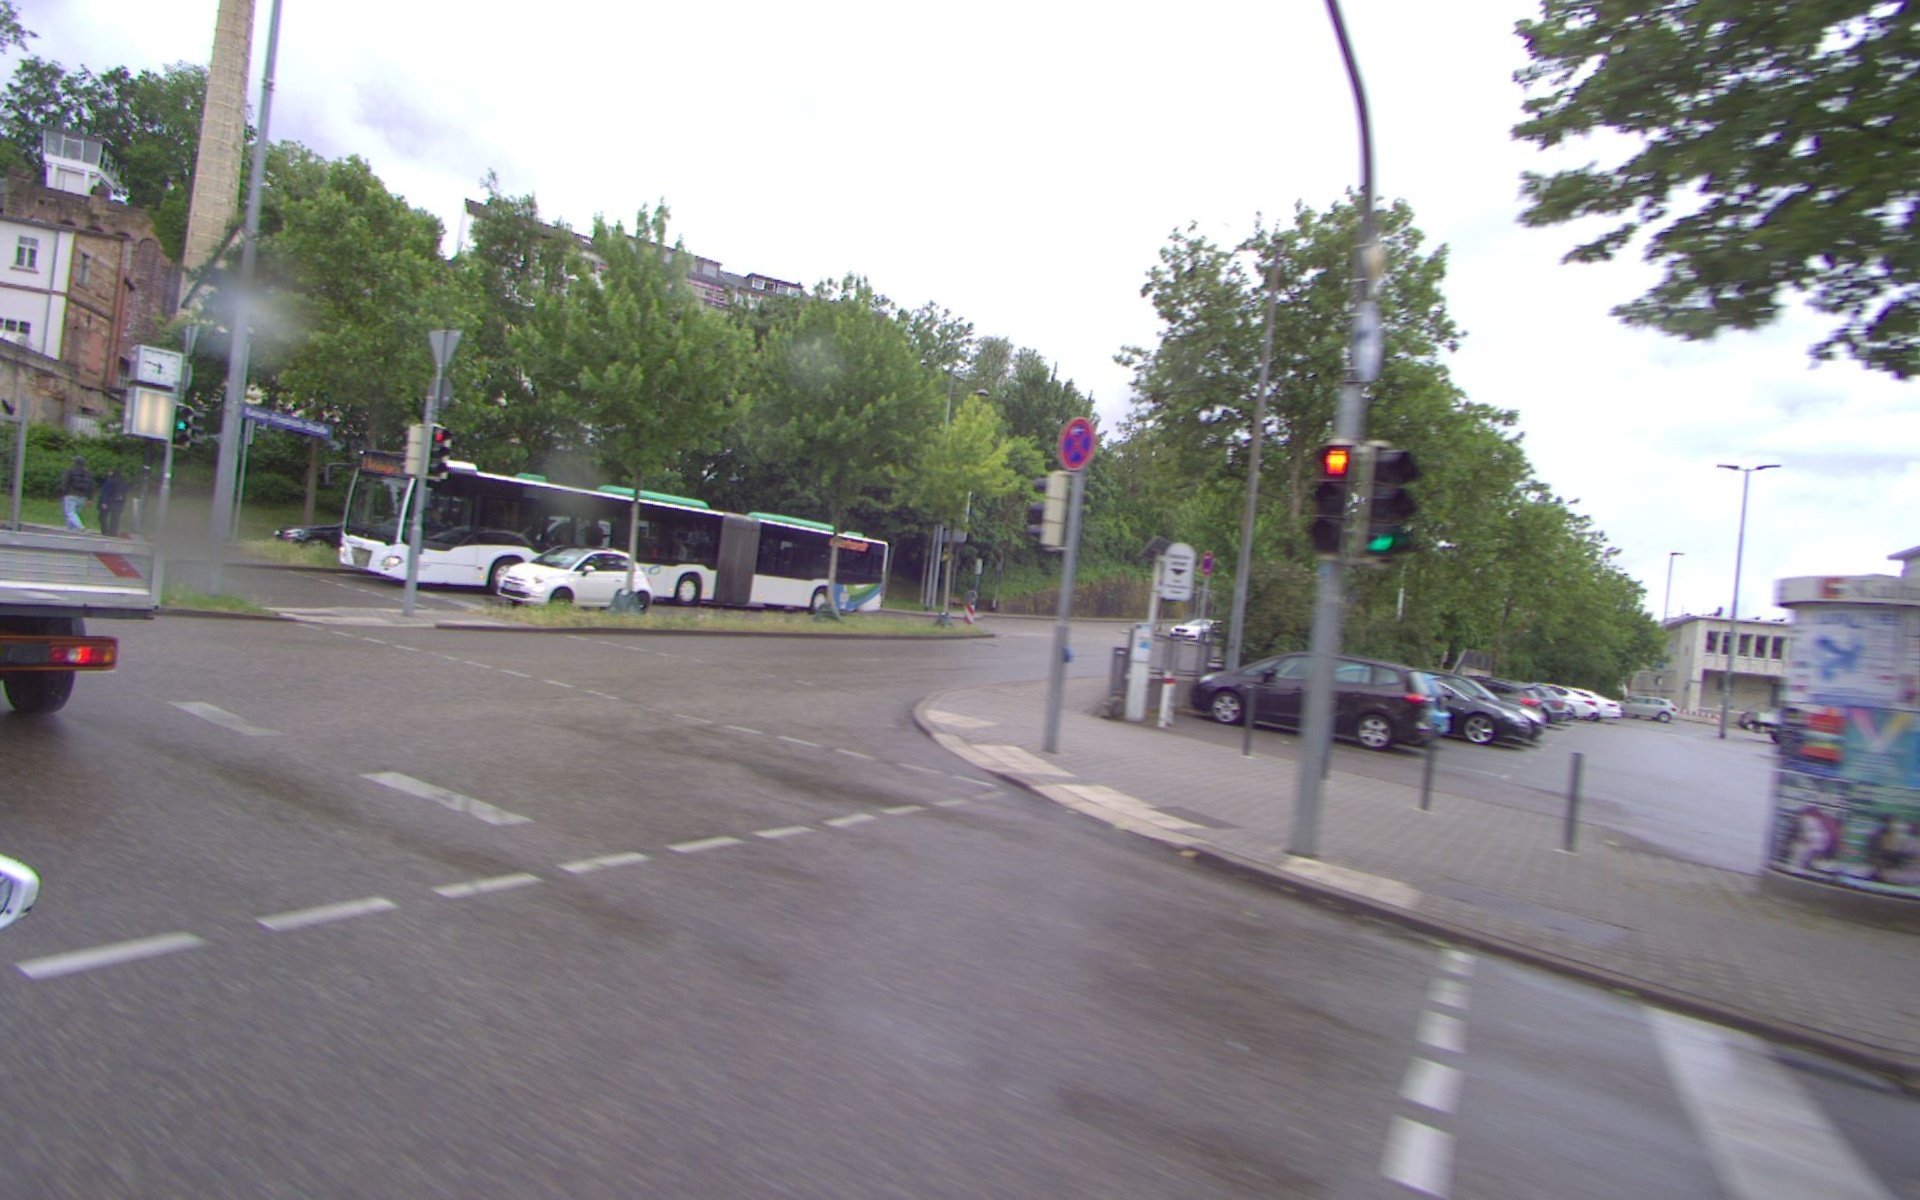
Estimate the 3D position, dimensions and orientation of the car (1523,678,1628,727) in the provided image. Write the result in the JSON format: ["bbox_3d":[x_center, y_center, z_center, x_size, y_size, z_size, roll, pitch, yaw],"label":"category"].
[{"bbox_3d":[29.605,4.915,48.427,3.959,1.696,1.849,7,0,40],"label":"car"}]

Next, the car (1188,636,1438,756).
[{"bbox_3d":[6.814,1.793,19.510,4.189,1.632,1.803,7,0,29],"label":"car"}]

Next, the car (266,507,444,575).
[{"bbox_3d":[-17.240,-1.664,28.743,4.066,1.391,1.775,6,0,-41],"label":"car"}]

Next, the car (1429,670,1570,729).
[{"bbox_3d":[19.199,3.511,35.921,4.189,1.458,1.854,7,0,29],"label":"car"}]

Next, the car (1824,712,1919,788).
[{"bbox_3d":[24.645,3.962,25.402,3.935,1.586,1.758,8,1,34],"label":"car"}]

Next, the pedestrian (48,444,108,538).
[{"bbox_3d":[-20.514,-2.520,23.414,0.776,2.040,0.585,6,2,-22],"label":"pedestrian"}]

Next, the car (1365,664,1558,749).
[{"bbox_3d":[12.925,2.693,26.041,4.189,1.498,1.854,7,0,29],"label":"car"}]

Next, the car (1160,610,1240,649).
[{"bbox_3d":[13.632,1.707,56.948,4.844,1.673,1.976,7,0,-43],"label":"car"}]

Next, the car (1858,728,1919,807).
[{"bbox_3d":[21.753,3.806,21.131,3.935,1.467,1.758,8,1,34],"label":"car"}]

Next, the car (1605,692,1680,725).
[{"bbox_3d":[43.238,6.852,63.729,3.759,1.439,1.696,7,0,37],"label":"car"}]

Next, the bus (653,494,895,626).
[{"bbox_3d":[-5.922,-1.167,33.903,2.643,3.219,8.544,8,0,32],"label":"bus"}]

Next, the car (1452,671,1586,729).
[{"bbox_3d":[21.990,3.907,39.654,4.201,1.631,1.849,7,0,40],"label":"car"}]

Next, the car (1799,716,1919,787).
[{"bbox_3d":[25.978,4.301,27.811,3.935,1.463,1.657,8,1,34],"label":"car"}]

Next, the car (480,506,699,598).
[{"bbox_3d":[-12.130,-1.532,33.315,6.295,2.262,2.229,6,0,-42],"label":"car"}]

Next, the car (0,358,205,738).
[{"bbox_3d":[-7.816,-0.515,6.848,5.447,2.113,2.107,5,-2,29],"label":"car"}]

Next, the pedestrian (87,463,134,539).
[{"bbox_3d":[-20.310,-2.357,24.055,0.518,1.728,0.558,7,2,17],"label":"pedestrian"}]

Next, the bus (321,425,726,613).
[{"bbox_3d":[-10.649,-1.772,26.136,2.659,3.255,9.643,8,0,30],"label":"bus"}]

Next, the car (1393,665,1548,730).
[{"bbox_3d":[16.281,3.085,32.186,4.189,1.414,1.854,7,0,29],"label":"car"}]

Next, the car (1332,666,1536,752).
[{"bbox_3d":[11.393,2.558,24.285,4.189,1.371,1.854,7,0,29],"label":"car"}]

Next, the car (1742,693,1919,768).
[{"bbox_3d":[41.427,6.133,47.974,5.937,2.389,2.229,8,1,26],"label":"car"}]

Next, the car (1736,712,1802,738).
[{"bbox_3d":[66.588,10.288,82.875,3.861,1.564,1.640,6,-2,28],"label":"car"}]

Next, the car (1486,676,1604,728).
[{"bbox_3d":[26.387,4.572,45.449,4.201,1.696,1.849,7,0,40],"label":"car"}]

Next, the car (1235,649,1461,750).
[{"bbox_3d":[8.302,2.074,21.610,4.189,1.458,1.854,7,0,29],"label":"car"}]

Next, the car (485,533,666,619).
[{"bbox_3d":[-8.747,-0.495,23.158,1.563,1.469,3.564,8,0,30],"label":"car"}]
